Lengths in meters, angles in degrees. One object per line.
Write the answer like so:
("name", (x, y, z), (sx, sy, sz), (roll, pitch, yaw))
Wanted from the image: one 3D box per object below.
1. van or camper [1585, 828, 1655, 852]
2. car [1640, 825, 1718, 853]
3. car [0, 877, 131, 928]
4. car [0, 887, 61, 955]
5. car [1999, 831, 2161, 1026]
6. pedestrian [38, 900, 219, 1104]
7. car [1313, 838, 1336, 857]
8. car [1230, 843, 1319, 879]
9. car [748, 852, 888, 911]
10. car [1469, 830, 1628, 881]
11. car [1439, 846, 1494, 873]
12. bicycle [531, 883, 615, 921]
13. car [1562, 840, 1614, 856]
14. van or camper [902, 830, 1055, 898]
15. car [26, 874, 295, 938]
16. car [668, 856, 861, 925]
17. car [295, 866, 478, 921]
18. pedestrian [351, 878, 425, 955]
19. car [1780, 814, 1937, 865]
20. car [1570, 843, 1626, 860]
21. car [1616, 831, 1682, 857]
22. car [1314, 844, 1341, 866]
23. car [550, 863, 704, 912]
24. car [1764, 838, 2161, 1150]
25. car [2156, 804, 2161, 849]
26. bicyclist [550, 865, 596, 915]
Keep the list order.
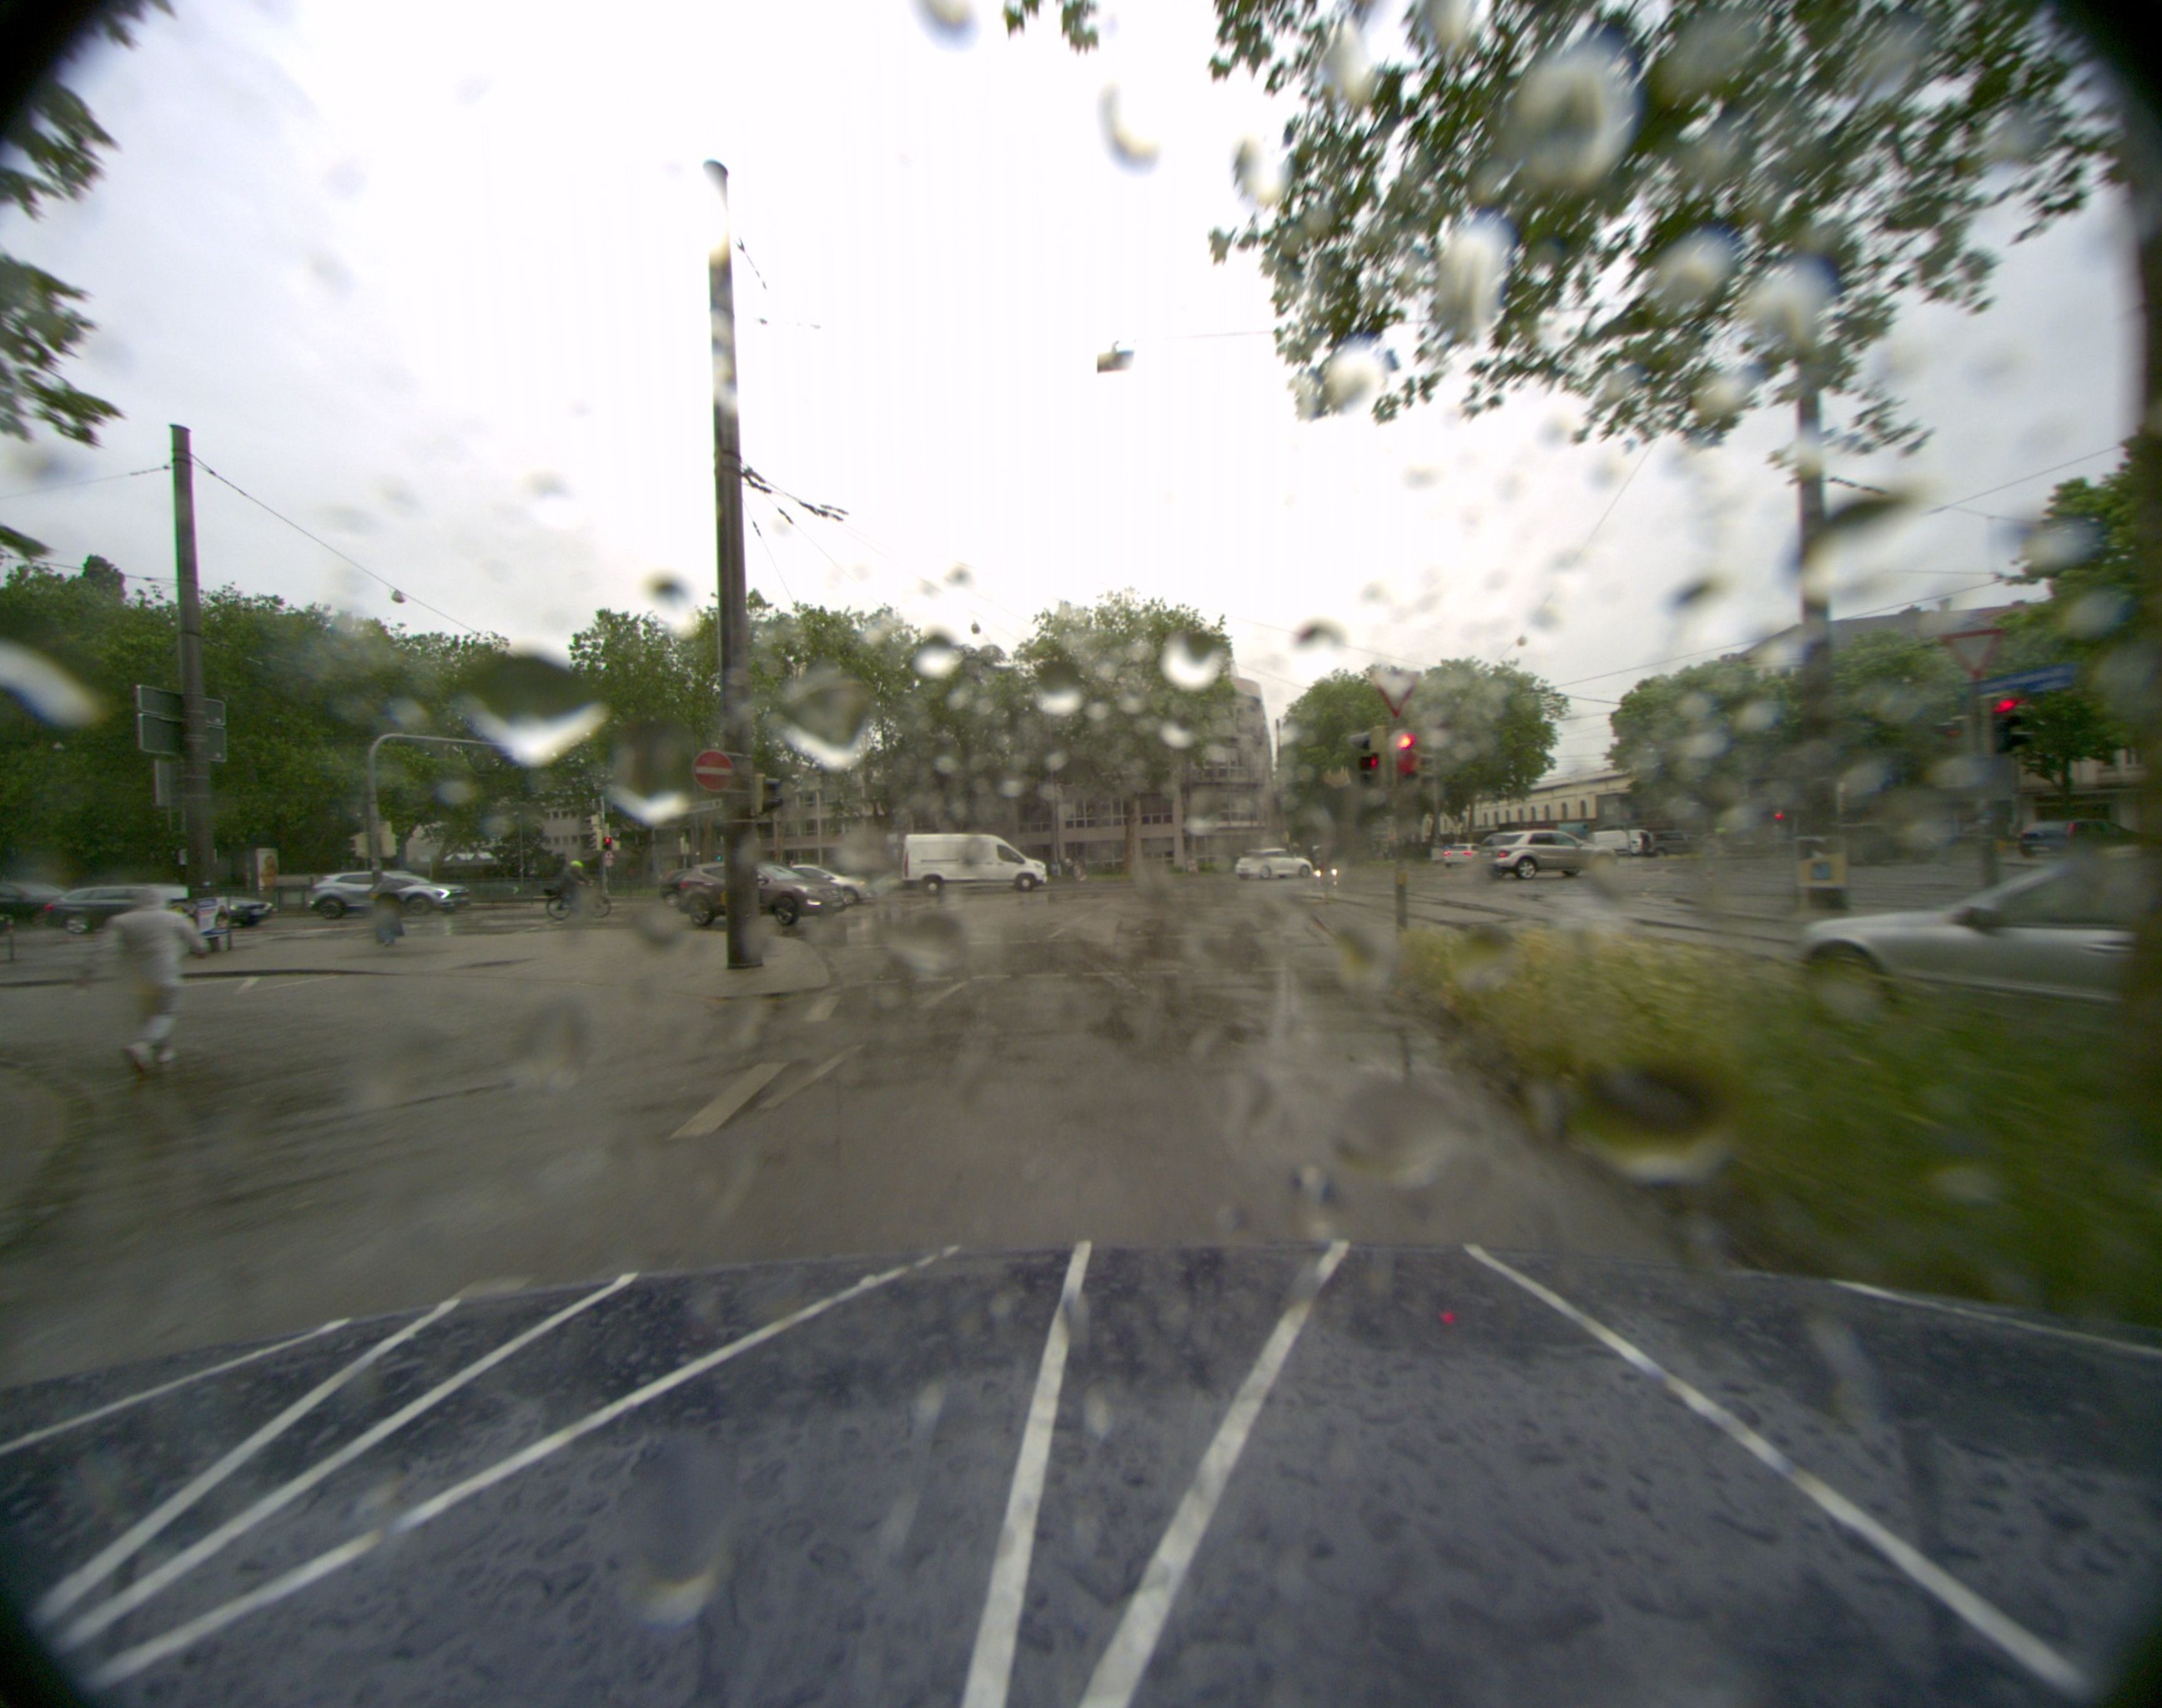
("van or camper", (48.186, -1.226, 68.009), (4.646, 2.063, 2.002), (-1, 1, 13))
("car", (47.108, -1.158, 59.996), (4.388, 2.002, 2.070), (-2, 2, 20))
("car", (-35.845, 1.678, 25.707), (4.479, 1.504, 1.785), (-3, 1, -11))
("car", (-30.248, 1.860, 19.466), (4.693, 1.678, 1.976), (-3, 1, -12))
("car", (9.348, 0.549, 4.792), (1.878, 1.493, 4.284), (-3, 0, -1))
("pedestrian", (-9.128, 1.338, 7.348), (0.567, 1.762, 1.203), (1, -3, -25))
("car", (23.378, -0.644, 73.083), (2.001, 1.761, 4.004), (-1, 1, 17))
("car", (9.628, 0.319, 37.732), (4.078, 1.578, 1.804), (-3, 1, -27))
("car", (-8.988, 0.892, 26.358), (4.268, 1.731, 1.974), (-3, 1, -11))
("car", (17.096, 0.029, 27.930), (4.677, 1.637, 1.913), (-2, 1, -1))
("car", (24.423, 0.336, 48.067), (4.199, 1.528, 1.807), (-3, 0, -44))
("bicycle", (-15.879, 1.495, 23.792), (1.998, 1.082, 0.818), (-1, 2, -7))
("car", (51.616, -0.621, 77.412), (3.992, 1.604, 2.002), (0, 1, 15))
("van or camper", (-4.270, 0.350, 31.489), (5.973, 2.457, 2.179), (-3, 1, -14))
("car", (-28.400, 1.566, 23.635), (5.335, 1.583, 1.947), (-3, 0, -8))
("car", (-8.609, 0.997, 20.734), (4.670, 1.637, 1.916), (-2, 2, 19))
("car", (-25.025, 1.370, 27.558), (4.557, 1.650, 1.785), (-2, 2, -11))
("pedestrian", (-16.203, 1.432, 17.762), (0.995, 1.657, 1.108), (-1, 2, 43))
("car", (29.658, -0.561, 29.059), (4.188, 1.700, 1.807), (-2, 1, -1))
("car", (49.587, -0.225, 72.935), (3.992, 1.604, 2.002), (0, 1, 15))
("car", (48.612, -0.828, 65.081), (3.995, 2.002, 2.001), (-2, 1, 7))
("car", (21.597, 0.066, 66.549), (1.799, 1.761, 4.006), (-4, 0, 23))
("car", (-16.948, 1.232, 28.611), (4.557, 1.504, 1.785), (-3, 1, -11))
("car", (6.145, 0.673, 3.714), (1.738, 1.480, 4.502), (-3, 0, 4))
("car", (36.977, -0.982, 22.849), (2.001, 1.465, 4.982), (-3, 0, -18))
("bicyclist", (-15.917, 1.118, 23.822), (0.805, 1.462, 0.927), (-1, 2, -7))
